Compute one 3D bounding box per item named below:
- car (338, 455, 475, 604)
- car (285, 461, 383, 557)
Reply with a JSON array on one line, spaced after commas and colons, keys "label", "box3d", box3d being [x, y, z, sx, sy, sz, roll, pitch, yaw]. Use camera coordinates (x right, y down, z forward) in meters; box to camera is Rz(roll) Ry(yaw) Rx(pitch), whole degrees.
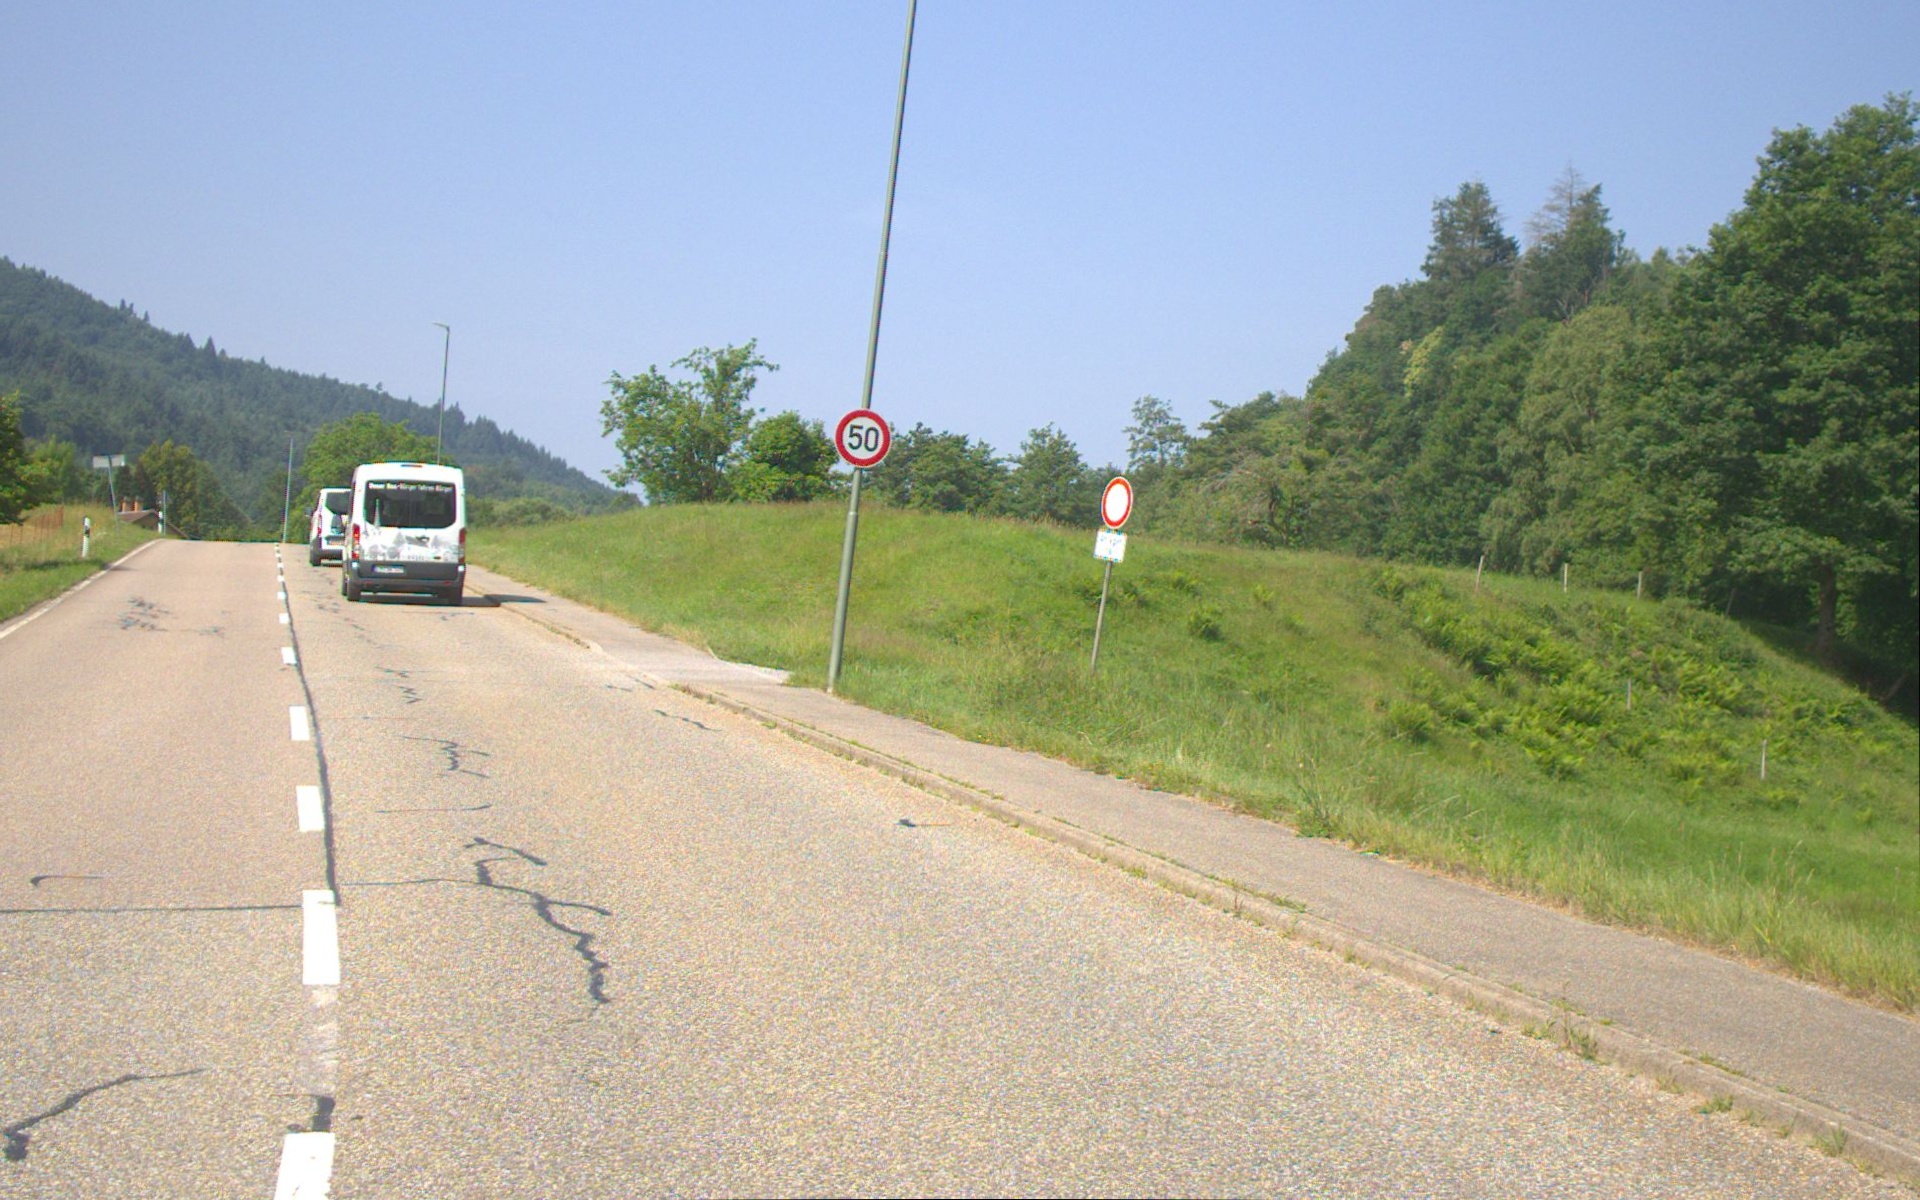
[{"label": "car", "box3d": [-9.983, -1.212, 61.678, 2.222, 2.517, 4.985, 0, 0, -11]}, {"label": "car", "box3d": [-16.071, -2.294, 88.049, 2.222, 2.279, 4.986, 0, 0, -13]}]
